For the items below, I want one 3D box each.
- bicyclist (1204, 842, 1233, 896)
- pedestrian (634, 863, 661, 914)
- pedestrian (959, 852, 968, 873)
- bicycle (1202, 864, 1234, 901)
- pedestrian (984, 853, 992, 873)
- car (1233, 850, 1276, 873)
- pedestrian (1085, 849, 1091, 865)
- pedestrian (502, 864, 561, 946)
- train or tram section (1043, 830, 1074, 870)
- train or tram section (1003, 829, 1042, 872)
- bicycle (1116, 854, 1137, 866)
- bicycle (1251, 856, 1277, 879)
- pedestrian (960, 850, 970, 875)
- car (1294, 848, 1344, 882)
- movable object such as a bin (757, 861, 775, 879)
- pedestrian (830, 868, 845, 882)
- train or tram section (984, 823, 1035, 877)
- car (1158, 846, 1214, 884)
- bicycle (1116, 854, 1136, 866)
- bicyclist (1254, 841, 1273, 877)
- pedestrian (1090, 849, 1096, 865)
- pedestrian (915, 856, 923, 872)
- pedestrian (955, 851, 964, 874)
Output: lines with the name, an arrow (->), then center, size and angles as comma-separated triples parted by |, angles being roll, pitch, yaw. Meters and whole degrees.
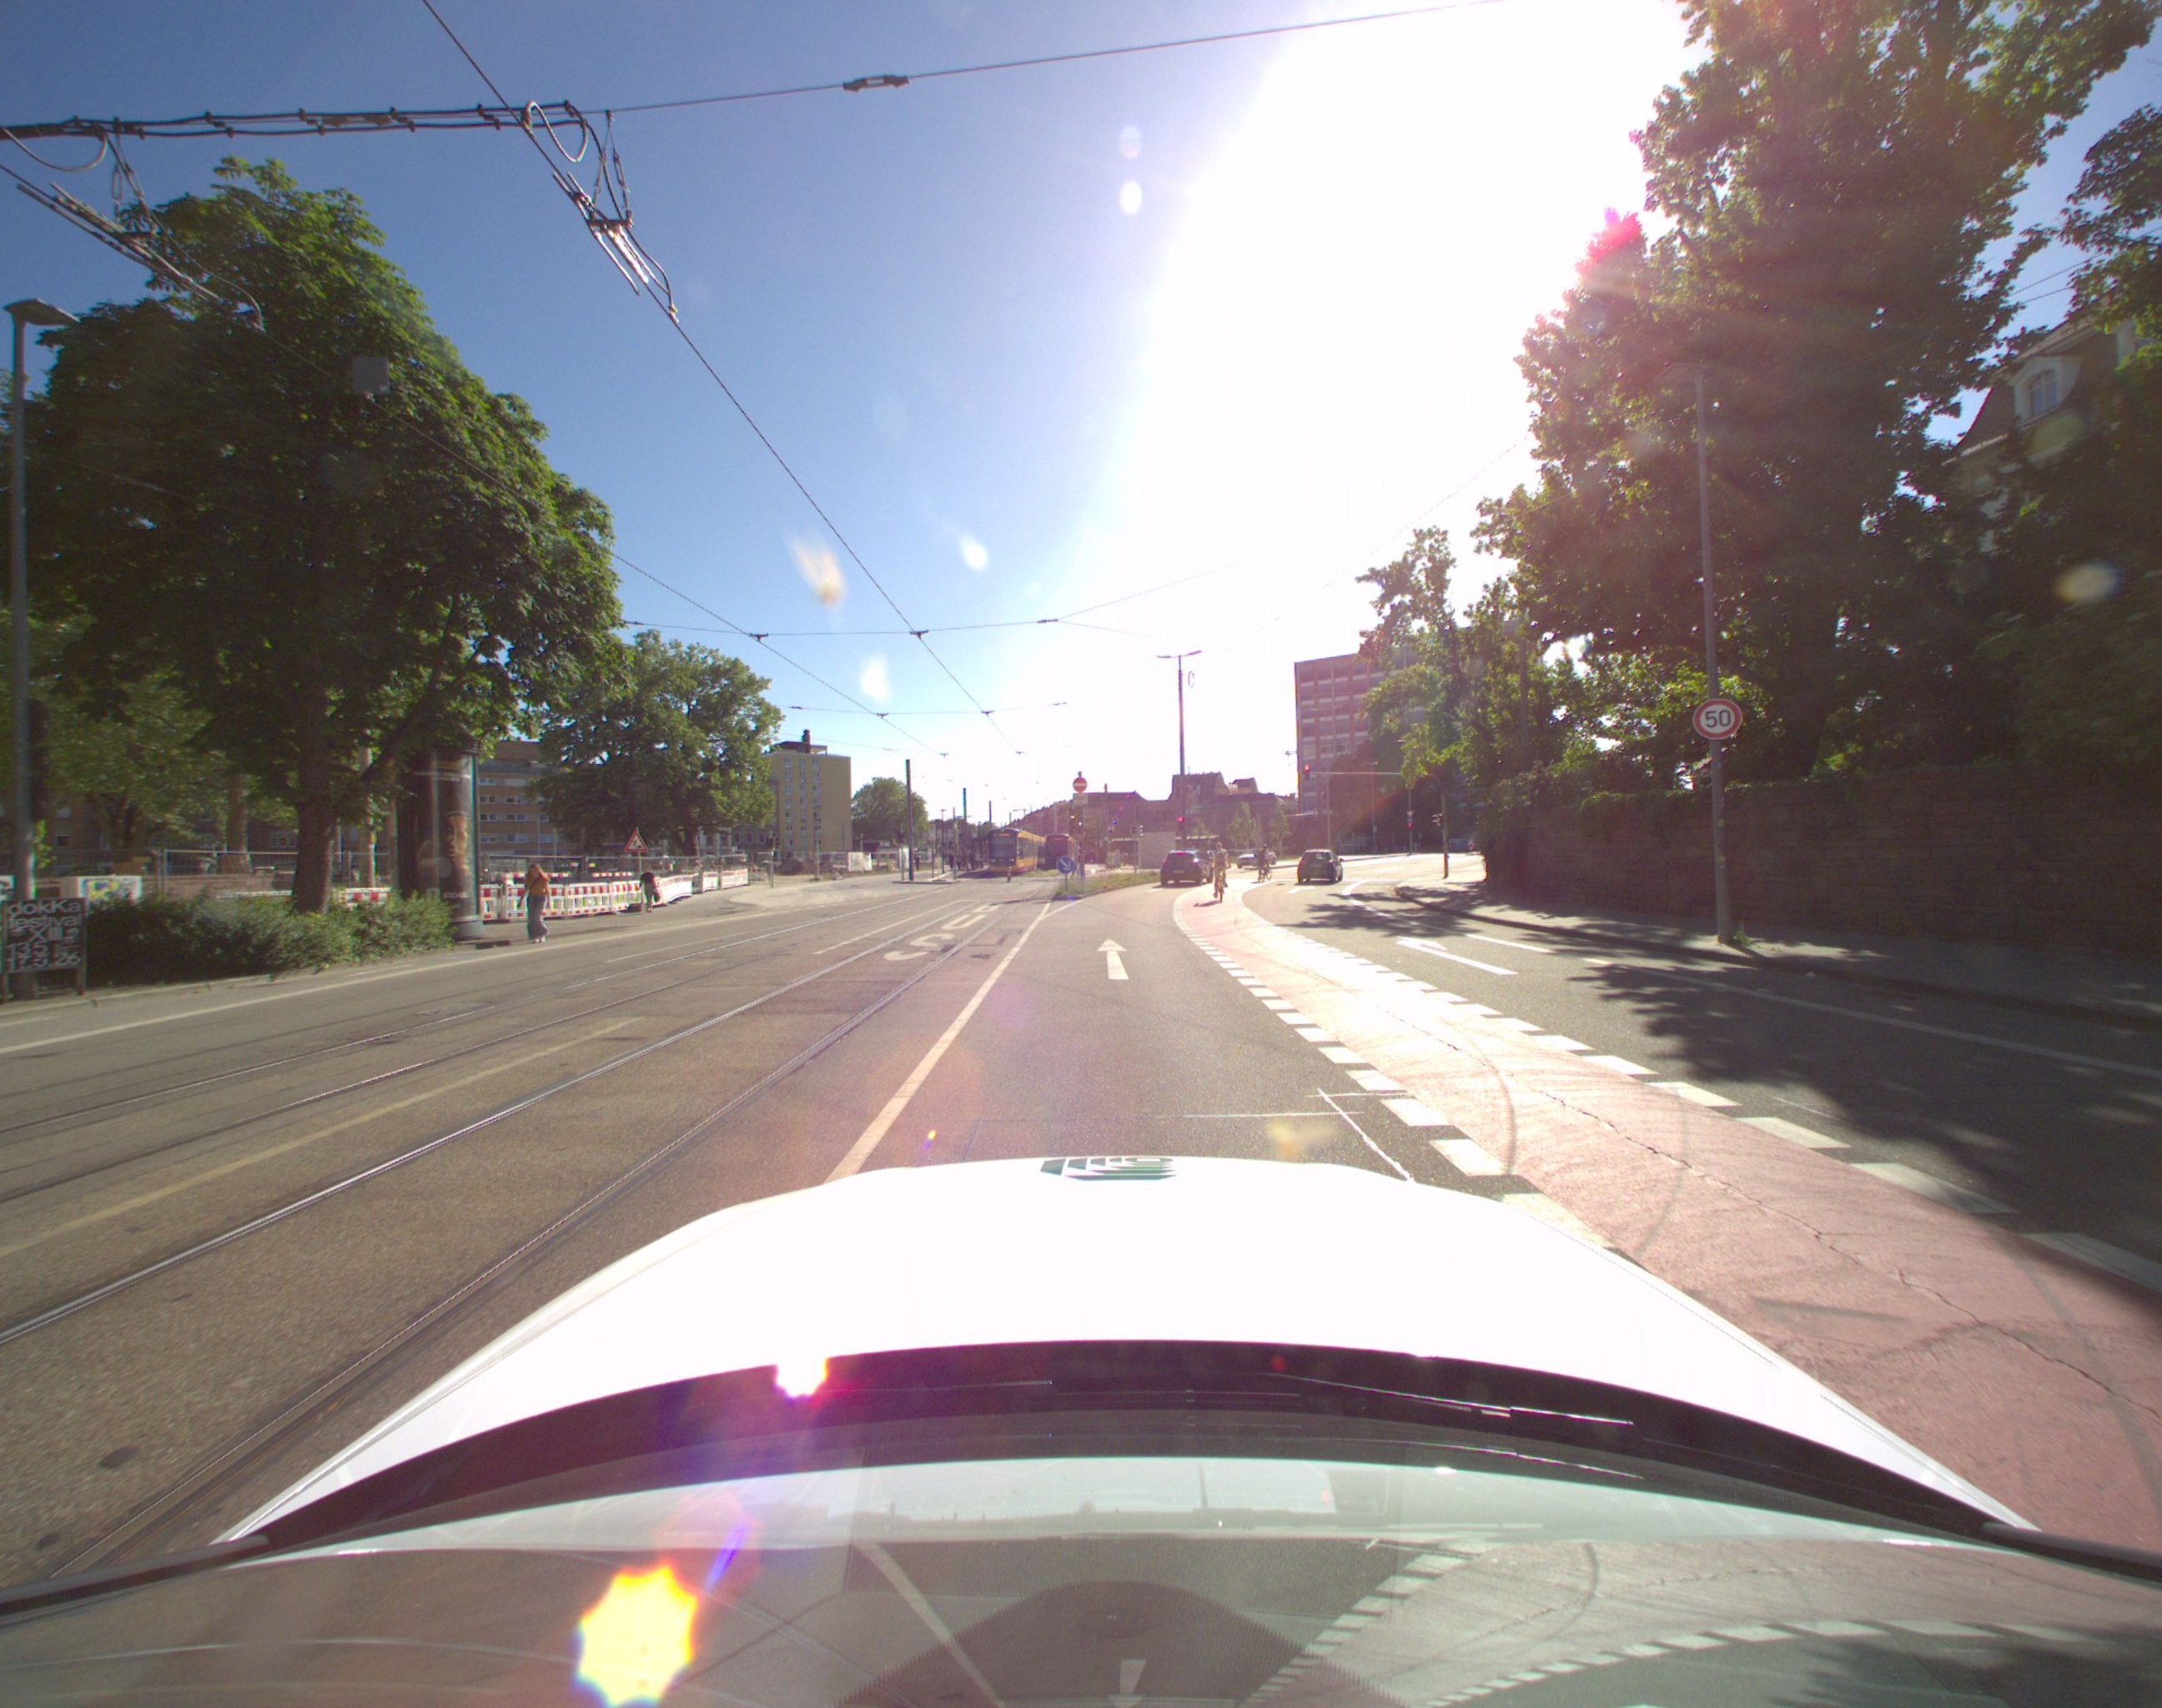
bicyclist -> 4.357, 0.456, 25.794 | 0.699, 1.675, 1.107 | 0, 0, 20
pedestrian -> -14.698, 1.157, 27.635 | 0.619, 1.697, 0.676 | -1, -1, -12
pedestrian -> -10.218, 0.734, 70.881 | 0.624, 1.827, 0.662 | -1, -1, -1
bicycle -> 4.357, 0.877, 25.794 | 0.699, 1.104, 1.726 | 0, 0, 20
pedestrian -> -8.582, 0.847, 75.261 | 0.624, 1.827, 0.662 | -1, -1, -1
car -> 12.582, 0.524, 58.844 | 1.685, 1.643, 3.736 | 0, 0, 36
pedestrian -> 0.879, 0.369, 102.057 | 0.660, 1.953, 0.626 | -1, -1, -12
pedestrian -> -11.942, 1.085, 17.712 | 0.633, 1.697, 0.820 | -3, -1, 3
train or tram section -> -2.152, -0.407, 83.186 | 2.733, 3.651, 13.783 | -1, 0, 0
train or tram section -> -5.316, -0.321, 76.428 | 2.733, 3.651, 12.541 | -1, 0, 0
bicycle -> 4.418, 0.587, 78.573 | 1.929, 1.103, 0.598 | -1, 0, -2
bicycle -> 8.858, 0.622, 39.357 | 0.698, 1.055, 2.327 | 1, 1, 25
pedestrian -> -8.634, 0.650, 60.562 | 0.624, 1.827, 0.662 | -1, -1, -1
car -> 11.064, 0.480, 37.788 | 1.773, 1.511, 3.733 | 0, 0, 23
movable object such as a bin -> -36.444, 1.807, 94.212 | 1.926, 2.014, 3.970 | -1, 0, -22
pedestrian -> -18.237, 1.573, 61.034 | 0.894, 1.046, 0.655 | -1, -1, 1
train or tram section -> -5.325, -0.300, 63.295 | 2.733, 3.651, 13.783 | -1, 0, 0
car -> 4.764, 0.468, 36.639 | 1.774, 1.604, 3.731 | 0, 0, 19
bicycle -> 4.404, 0.594, 79.342 | 1.929, 1.103, 0.598 | -1, 0, -2
bicyclist -> 8.784, 0.247, 39.195 | 0.698, 1.700, 0.993 | 1, 1, 25
pedestrian -> 1.510, 0.376, 104.049 | 0.660, 1.953, 0.626 | -1, -1, -12
pedestrian -> -17.529, 1.076, 88.084 | 0.624, 1.697, 0.662 | -1, -1, -1
pedestrian -> -9.790, 0.714, 65.591 | 0.624, 1.827, 0.662 | -1, -1, -1
